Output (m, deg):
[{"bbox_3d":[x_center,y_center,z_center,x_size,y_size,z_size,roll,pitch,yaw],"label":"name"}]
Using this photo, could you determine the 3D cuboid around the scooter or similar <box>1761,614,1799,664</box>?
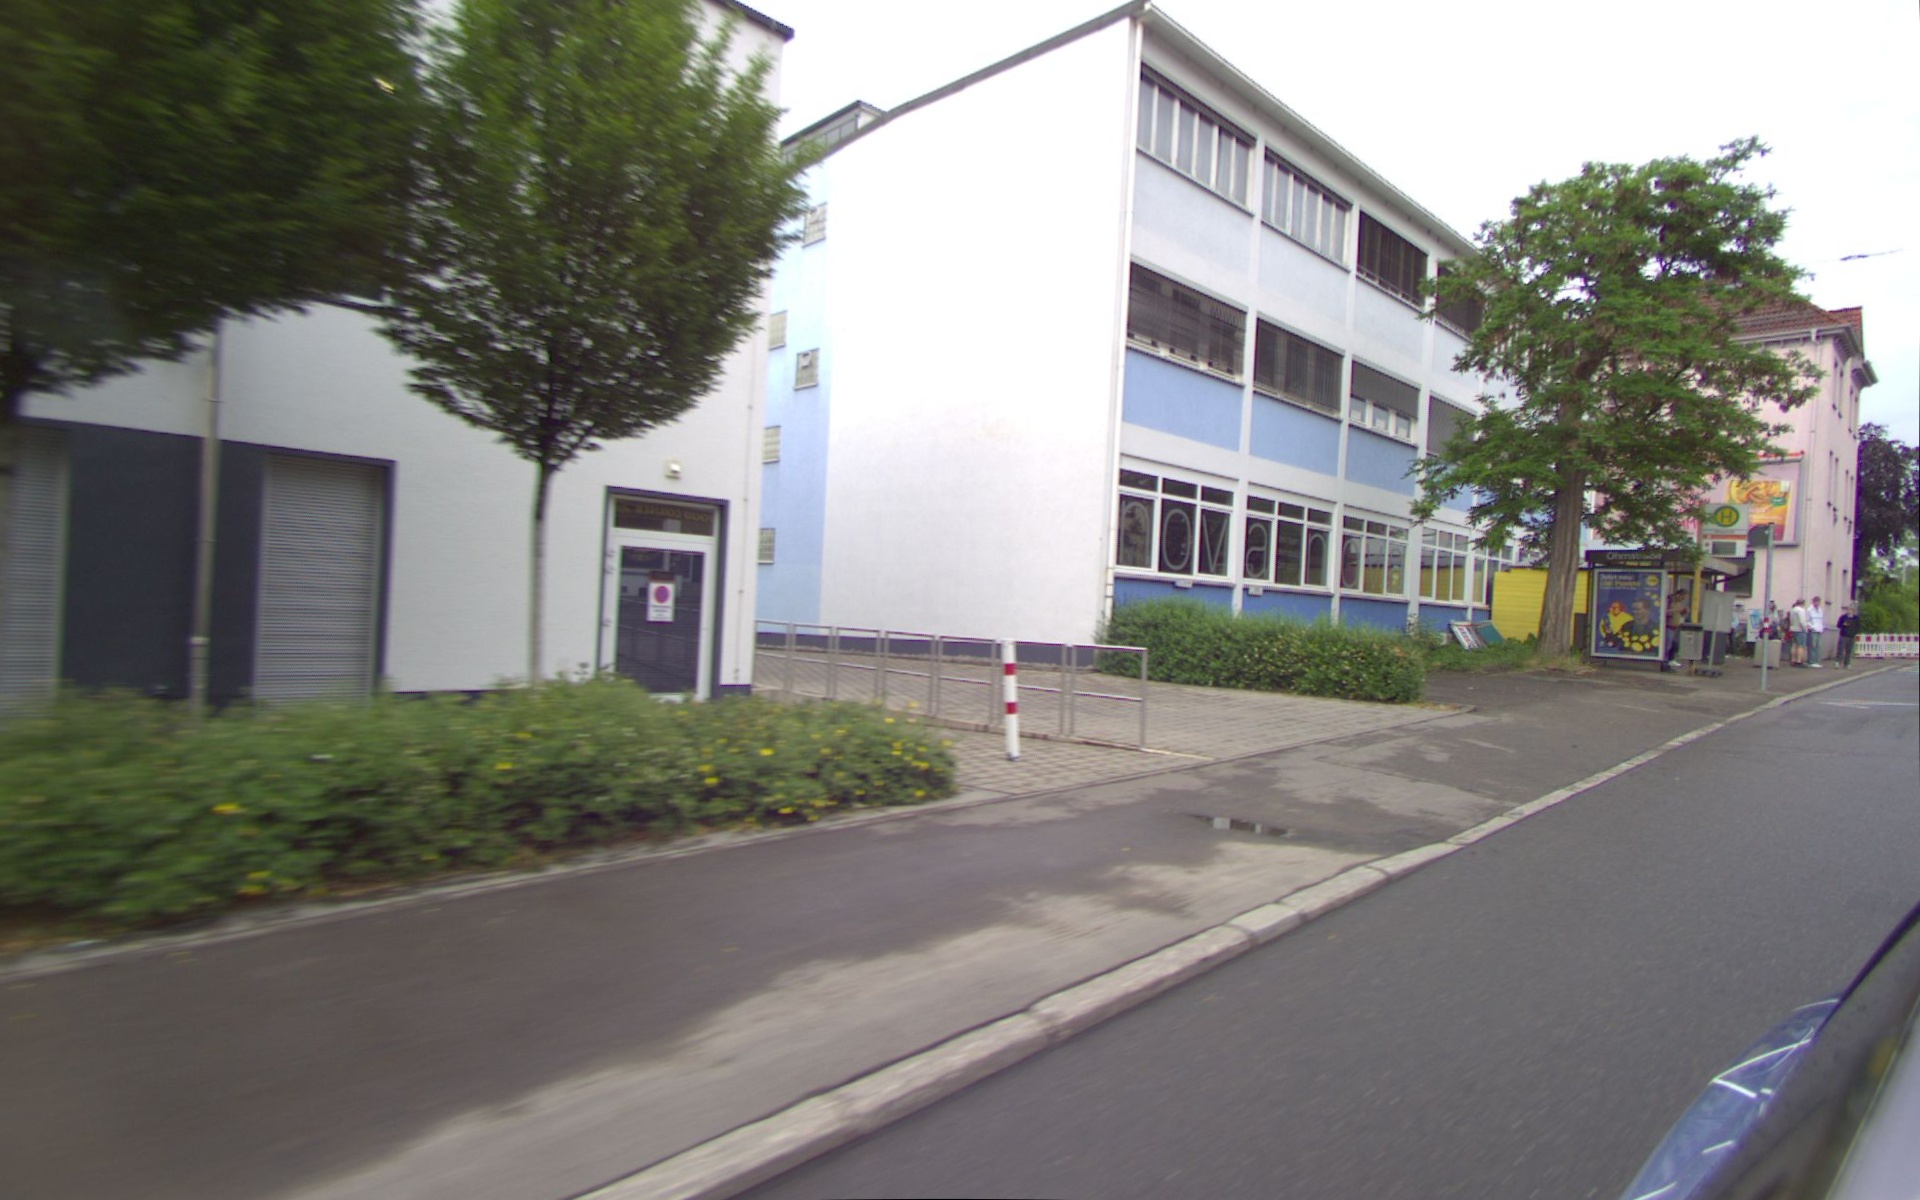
[{"bbox_3d":[20.006,0.940,24.698,0.618,1.154,0.559,4,2,44],"label":"scooter or similar"}]

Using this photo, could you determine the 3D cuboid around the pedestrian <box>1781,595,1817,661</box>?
[{"bbox_3d":[22.501,0.751,27.146,0.546,1.728,0.448,3,2,-29],"label":"pedestrian"}]

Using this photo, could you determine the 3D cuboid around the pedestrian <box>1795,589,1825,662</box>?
[{"bbox_3d":[22.227,0.657,26.464,0.459,1.863,0.595,6,3,42],"label":"pedestrian"}]

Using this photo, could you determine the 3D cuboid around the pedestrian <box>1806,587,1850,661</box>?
[{"bbox_3d":[23.242,0.638,27.101,0.619,1.898,0.489,3,2,-15],"label":"pedestrian"}]

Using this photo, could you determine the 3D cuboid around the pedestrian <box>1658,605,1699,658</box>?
[{"bbox_3d":[17.441,0.763,24.567,0.660,1.213,0.730,4,2,42],"label":"pedestrian"}]

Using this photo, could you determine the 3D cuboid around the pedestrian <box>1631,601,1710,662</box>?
[{"bbox_3d":[16.433,0.705,23.420,1.355,1.289,0.730,4,2,43],"label":"pedestrian"}]

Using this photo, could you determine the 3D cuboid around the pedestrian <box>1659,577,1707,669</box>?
[{"bbox_3d":[15.113,0.463,21.150,0.646,1.854,0.730,4,2,42],"label":"pedestrian"}]

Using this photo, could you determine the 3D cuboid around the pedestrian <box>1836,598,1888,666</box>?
[{"bbox_3d":[24.088,0.843,27.046,0.627,1.731,0.746,4,2,14],"label":"pedestrian"}]

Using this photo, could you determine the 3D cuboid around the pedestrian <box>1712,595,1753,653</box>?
[{"bbox_3d":[22.785,0.691,29.861,0.667,1.645,0.621,4,2,19],"label":"pedestrian"}]

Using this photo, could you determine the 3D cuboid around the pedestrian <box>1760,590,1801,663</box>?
[{"bbox_3d":[20.440,0.654,25.214,0.660,1.763,0.816,4,2,42],"label":"pedestrian"}]
